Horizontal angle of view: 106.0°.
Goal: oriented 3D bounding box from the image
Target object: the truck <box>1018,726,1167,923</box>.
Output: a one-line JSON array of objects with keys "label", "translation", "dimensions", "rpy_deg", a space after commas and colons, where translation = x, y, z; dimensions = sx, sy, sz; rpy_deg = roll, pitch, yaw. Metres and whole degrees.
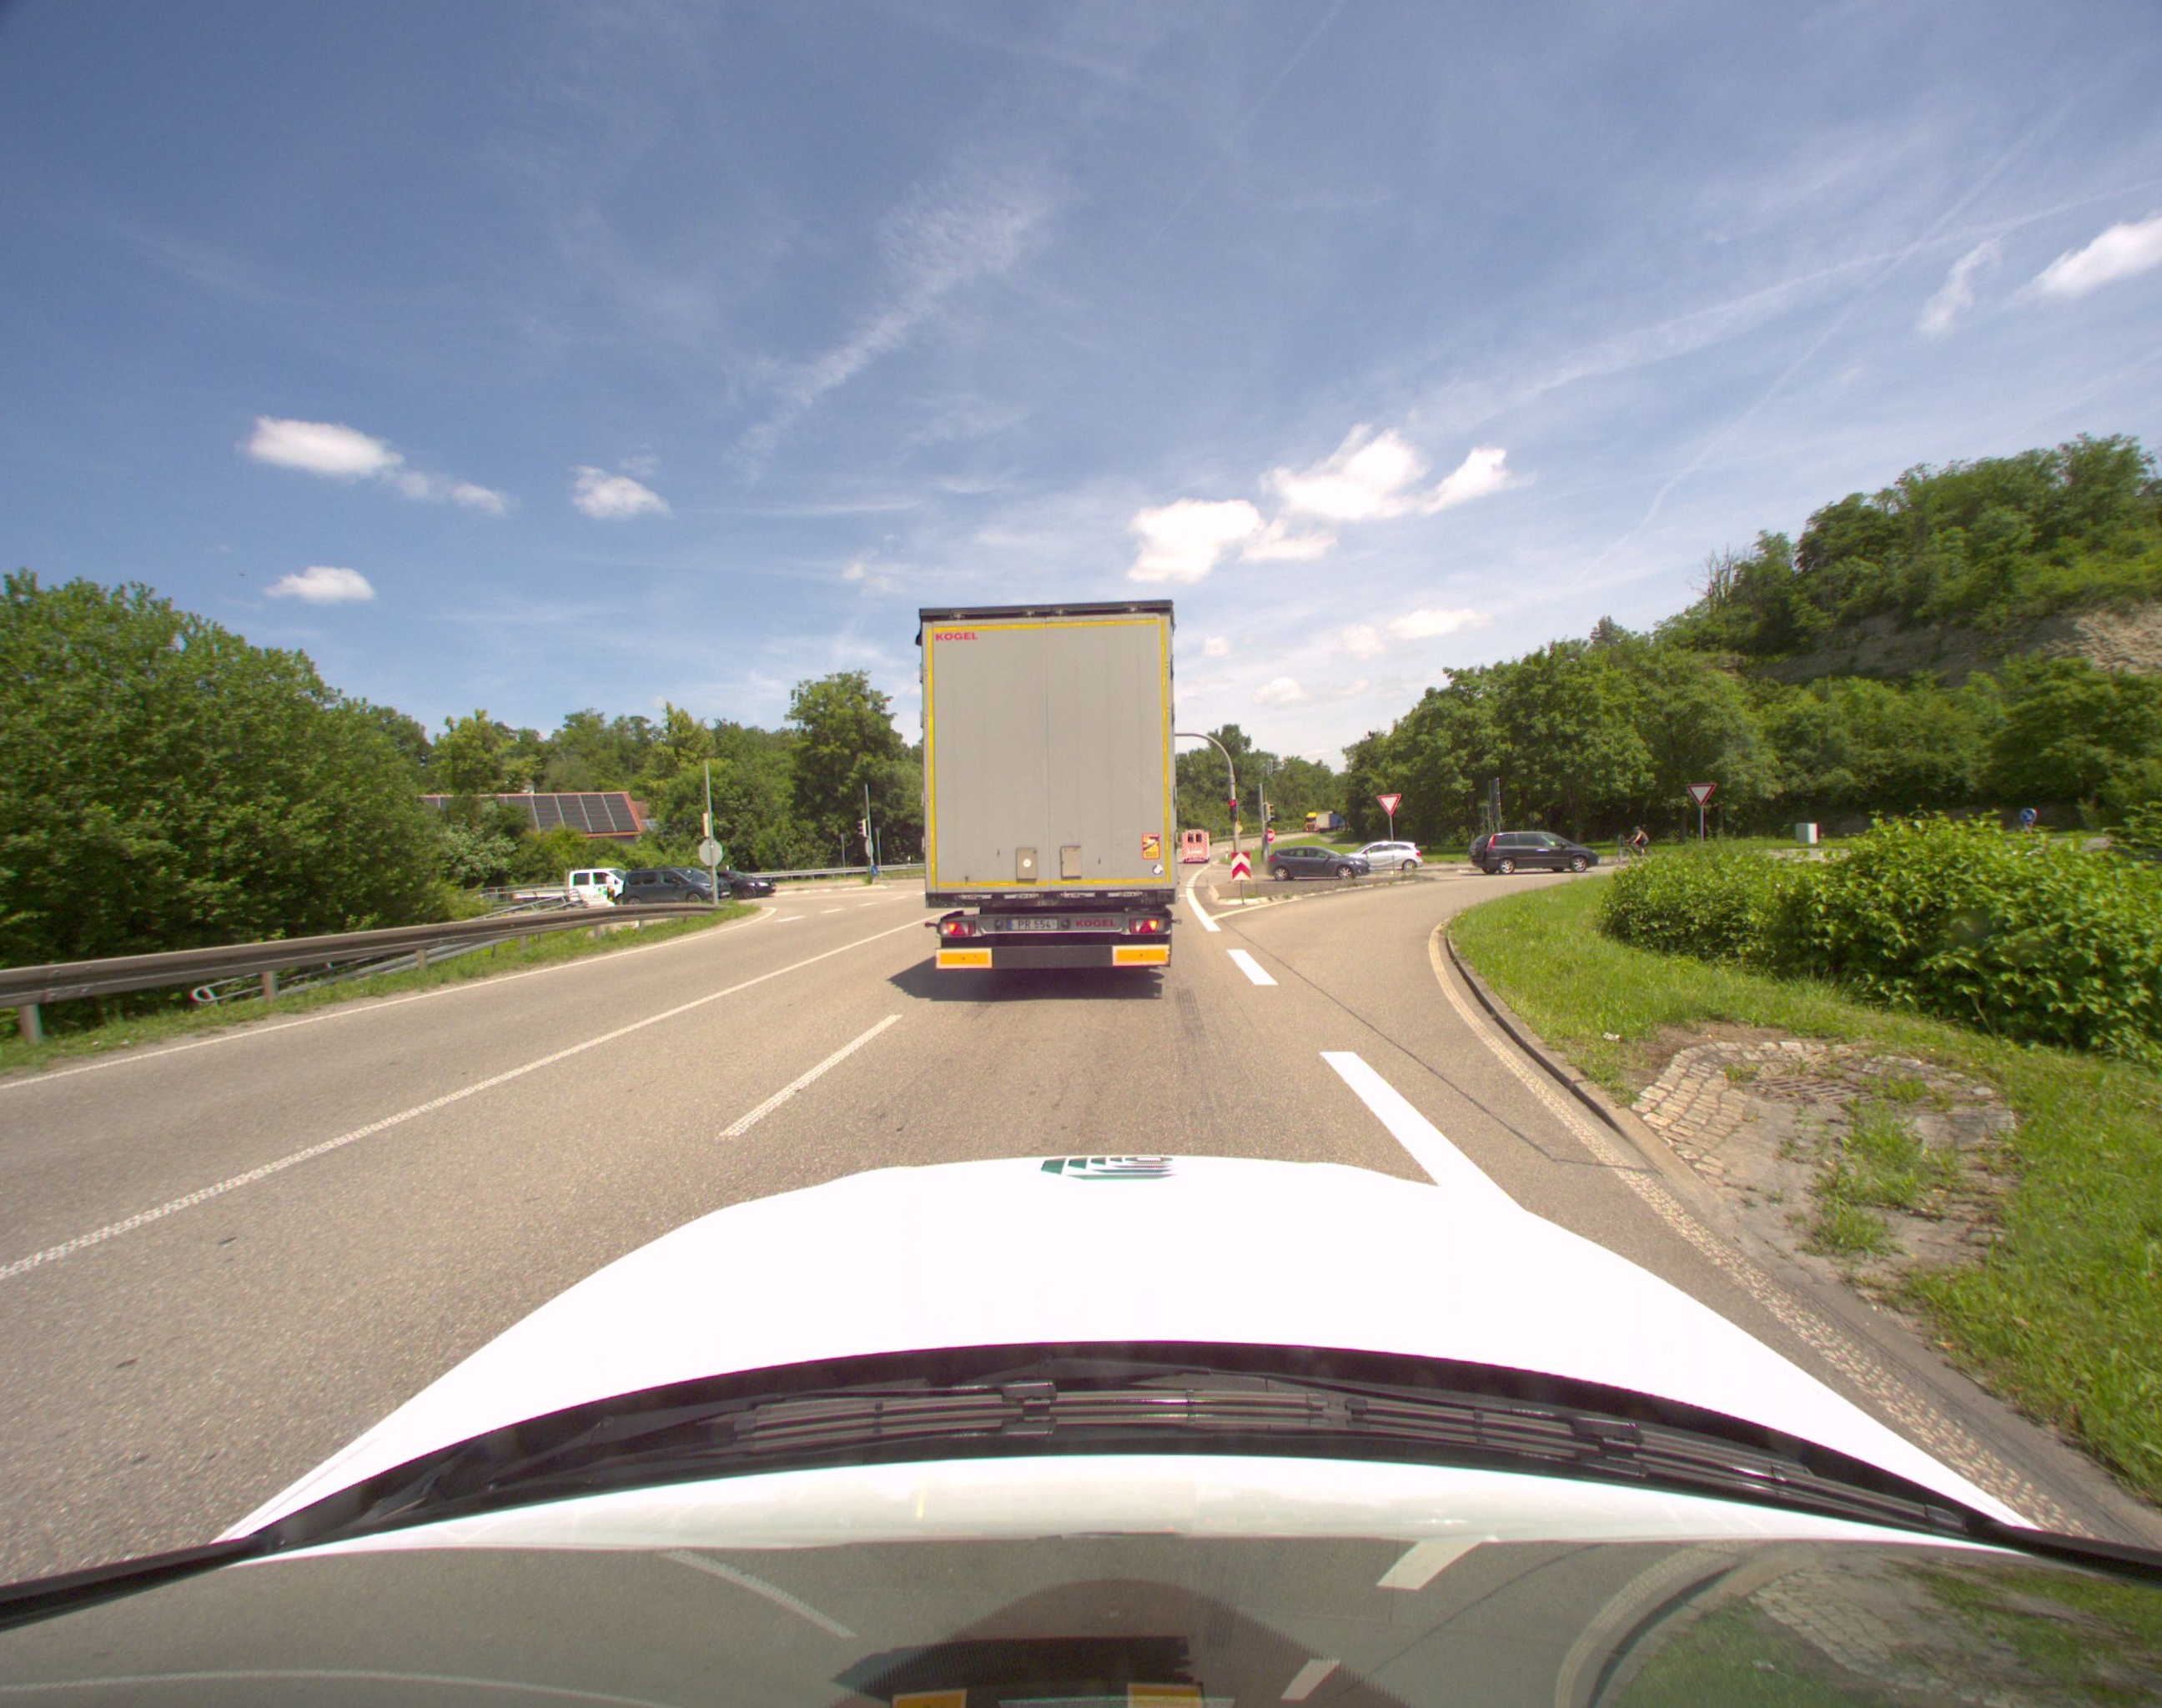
[{"label": "truck", "translation": [0.469, -0.613, 20.365], "dimensions": [3.024, 4.033, 6.636], "rpy_deg": [-2, 0, 4]}]

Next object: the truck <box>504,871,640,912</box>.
[{"label": "truck", "translation": [-23.321, 1.696, 37.510], "dimensions": [4.877, 1.791, 2.036], "rpy_deg": [0, -2, -11]}]

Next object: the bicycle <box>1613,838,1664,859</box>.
[{"label": "bicycle", "translation": [27.619, -0.266, 40.388], "dimensions": [1.983, 0.995, 0.797], "rpy_deg": [-1, -2, -1]}]

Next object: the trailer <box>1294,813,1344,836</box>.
[{"label": "trailer", "translation": [51.836, -6.387, 176.385], "dimensions": [4.963, 4.362, 20.972], "rpy_deg": [-1, 1, 31]}]

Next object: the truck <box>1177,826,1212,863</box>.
[{"label": "truck", "translation": [9.507, -0.720, 67.703], "dimensions": [2.478, 2.728, 6.048], "rpy_deg": [-1, -2, 11]}]

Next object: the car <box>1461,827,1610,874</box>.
[{"label": "car", "translation": [18.414, -0.117, 33.176], "dimensions": [4.902, 1.785, 2.003], "rpy_deg": [-1, -2, 5]}]

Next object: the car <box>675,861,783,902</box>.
[{"label": "car", "translation": [-16.551, 1.271, 38.384], "dimensions": [4.206, 1.770, 2.006], "rpy_deg": [-2, -1, 11]}]

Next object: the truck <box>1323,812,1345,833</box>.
[{"label": "truck", "translation": [51.706, -6.359, 166.518], "dimensions": [3.139, 4.004, 5.850], "rpy_deg": [-1, -1, 29]}]

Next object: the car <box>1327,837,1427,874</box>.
[{"label": "car", "translation": [14.909, 0.109, 41.218], "dimensions": [4.404, 1.718, 2.003], "rpy_deg": [-1, -2, 6]}]

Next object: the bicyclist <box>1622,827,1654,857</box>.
[{"label": "bicyclist", "translation": [27.612, -0.583, 40.399], "dimensions": [1.002, 1.448, 0.795], "rpy_deg": [-1, -2, -1]}]

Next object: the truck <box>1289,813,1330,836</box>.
[{"label": "truck", "translation": [47.626, -6.132, 169.395], "dimensions": [4.963, 4.362, 11.841], "rpy_deg": [-1, 1, 31]}]

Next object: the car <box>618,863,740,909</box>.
[{"label": "car", "translation": [-16.864, 1.336, 34.255], "dimensions": [4.206, 1.770, 2.006], "rpy_deg": [-2, -1, 11]}]

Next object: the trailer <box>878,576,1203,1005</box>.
[{"label": "trailer", "translation": [0.032, -0.615, 14.117], "dimensions": [3.038, 4.033, 12.572], "rpy_deg": [-2, 0, 4]}]

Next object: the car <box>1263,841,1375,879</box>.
[{"label": "car", "translation": [10.110, 0.306, 34.621], "dimensions": [4.204, 1.491, 2.012], "rpy_deg": [-2, -2, 28]}]

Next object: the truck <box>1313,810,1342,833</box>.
[{"label": "truck", "translation": [48.969, -6.332, 161.509], "dimensions": [3.149, 4.029, 11.817], "rpy_deg": [-1, 0, 29]}]
